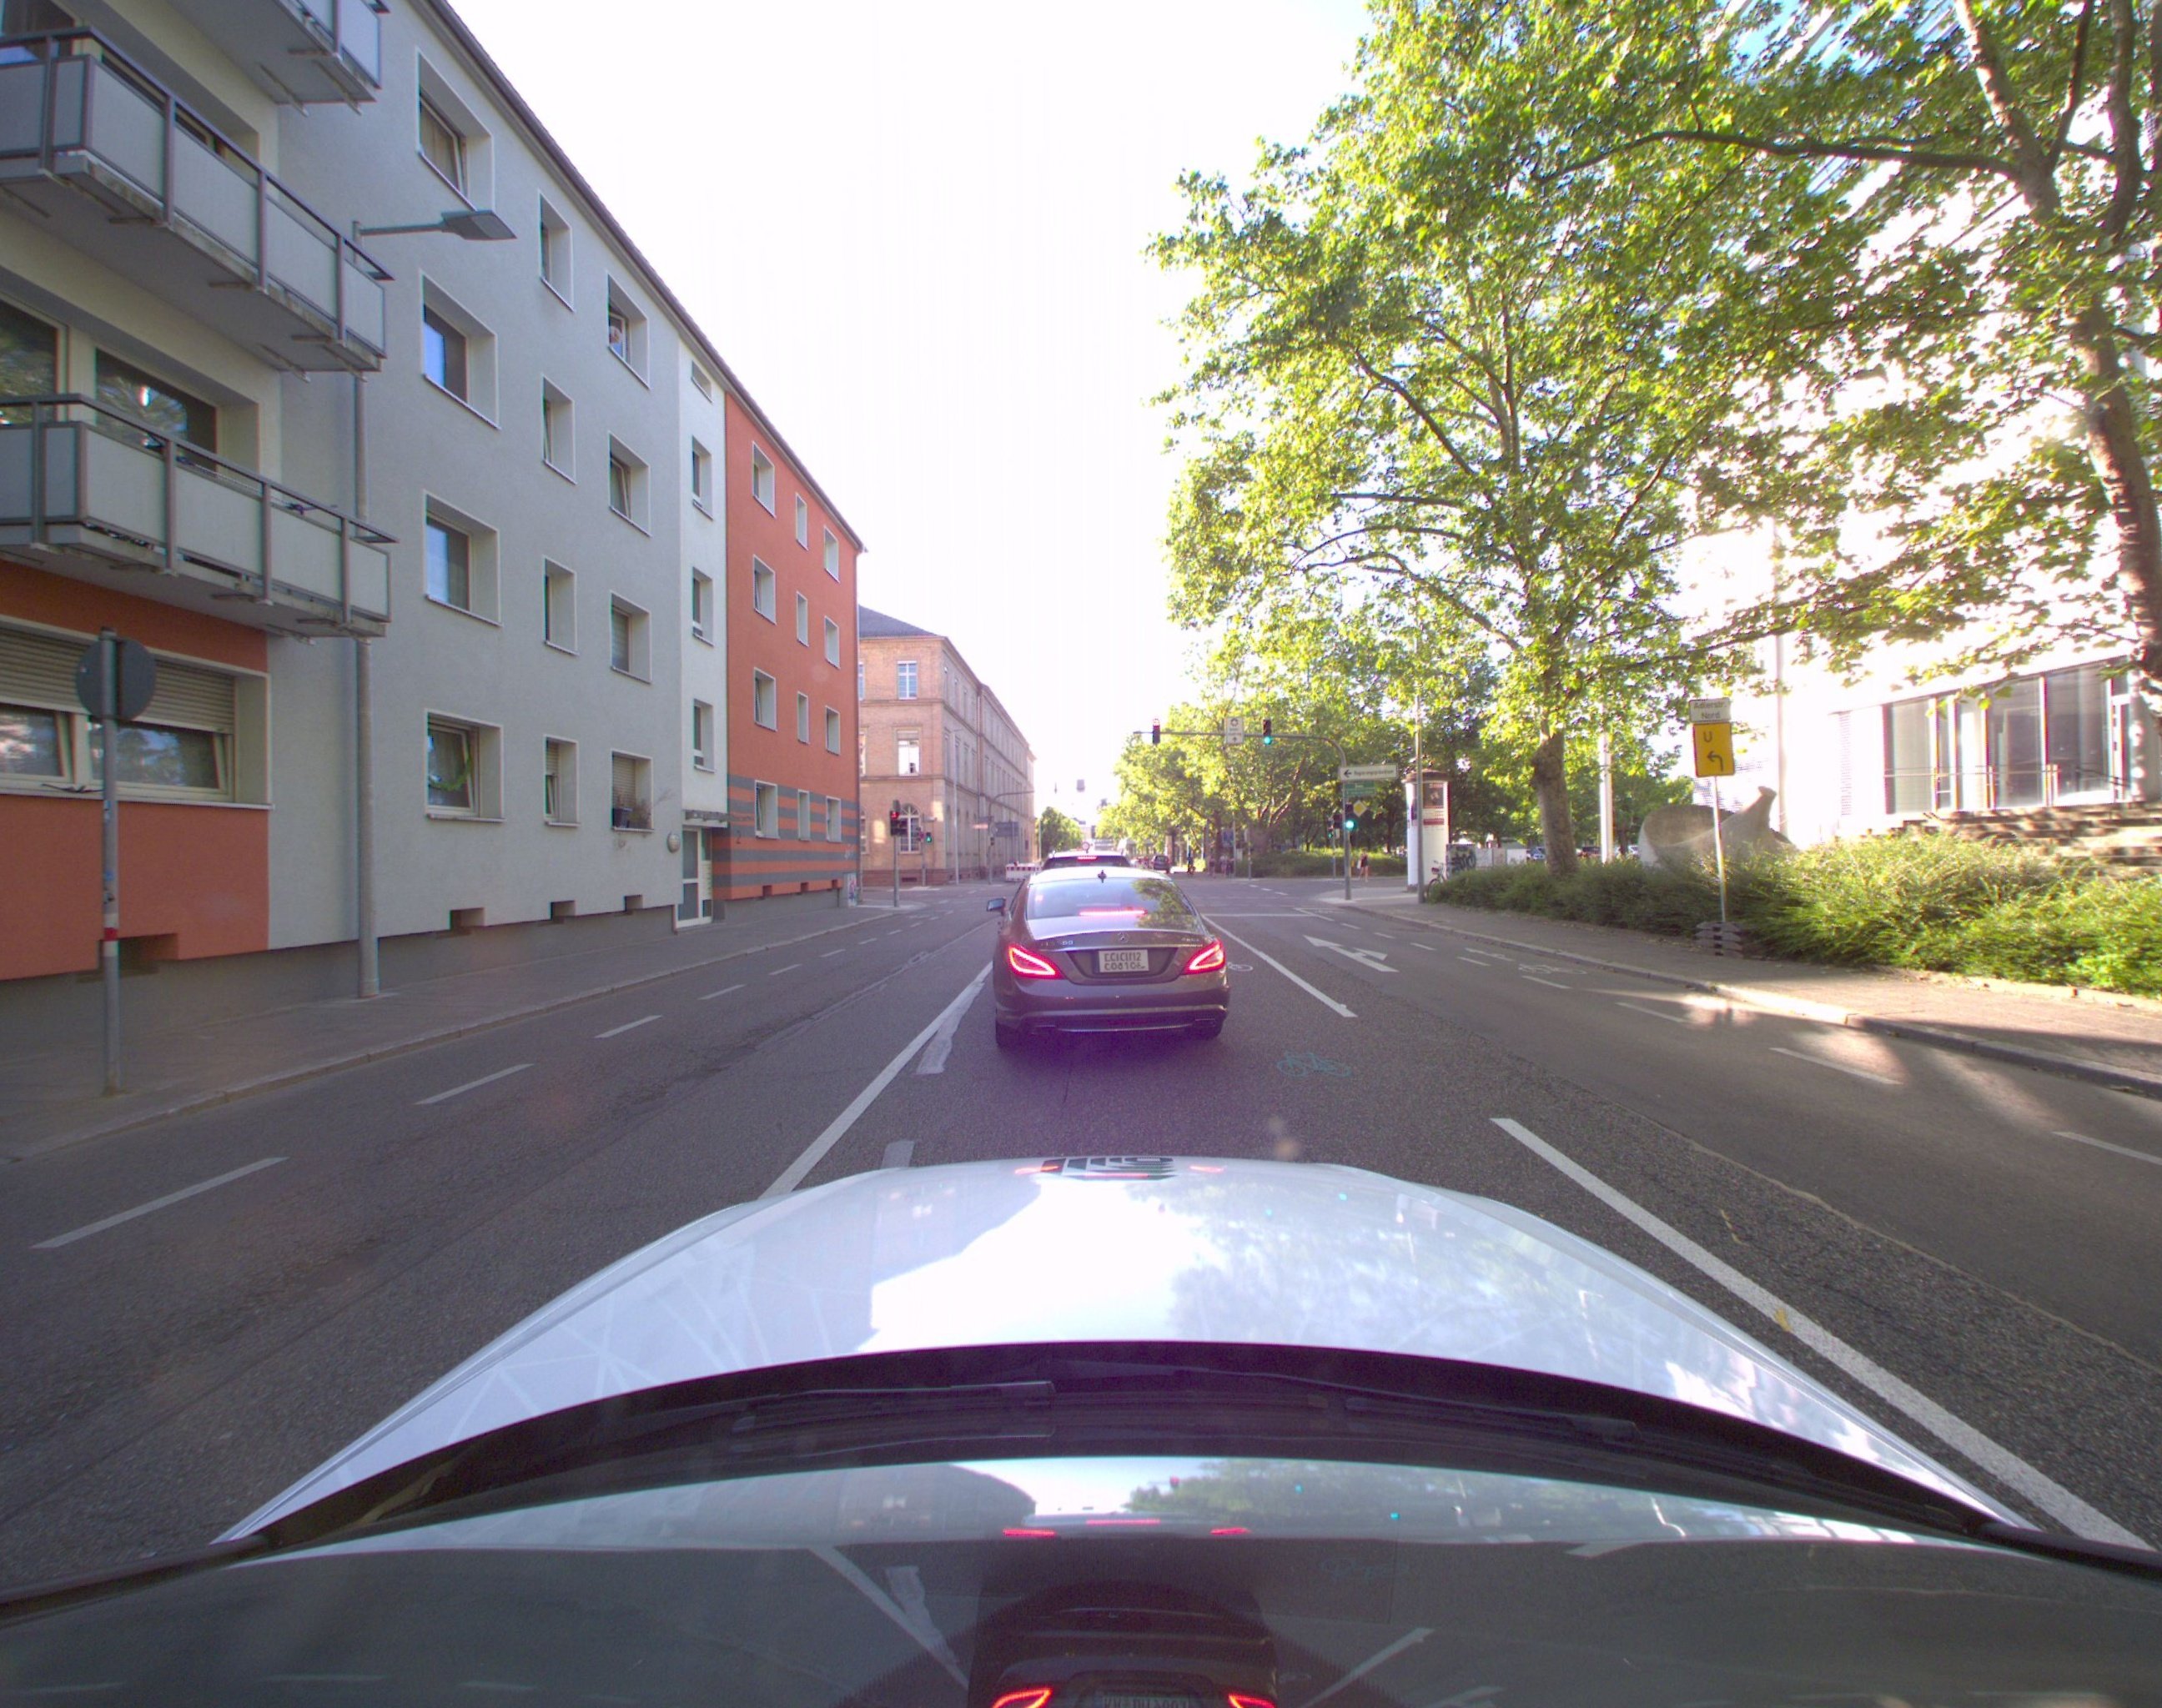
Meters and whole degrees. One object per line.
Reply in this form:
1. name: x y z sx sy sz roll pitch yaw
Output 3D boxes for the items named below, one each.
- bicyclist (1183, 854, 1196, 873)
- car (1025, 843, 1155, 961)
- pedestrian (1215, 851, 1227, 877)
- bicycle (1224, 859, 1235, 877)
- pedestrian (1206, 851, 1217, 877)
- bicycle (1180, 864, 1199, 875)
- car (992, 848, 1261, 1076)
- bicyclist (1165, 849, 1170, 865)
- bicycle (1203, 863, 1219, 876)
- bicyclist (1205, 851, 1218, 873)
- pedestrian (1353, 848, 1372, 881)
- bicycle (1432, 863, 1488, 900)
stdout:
1. bicyclist: 8.265 0.713 61.862 0.726 1.398 0.703 -1 -1 30
2. car: 0.189 0.694 13.728 1.854 1.682 4.002 -1 0 2
3. pedestrian: 9.621 0.704 55.966 0.634 1.760 0.698 0 -1 -2
4. bicycle: 10.158 0.979 55.857 0.480 1.202 1.607 0 -1 2
5. pedestrian: 8.970 0.689 56.139 0.634 1.797 0.698 0 -1 -2
6. bicycle: 8.270 1.157 61.877 0.716 0.791 1.940 -1 -1 30
7. car: 0.141 0.735 7.593 1.859 1.519 3.992 -1 0 -6
8. bicyclist: 11.120 0.397 104.903 0.593 2.039 0.566 0 -1 -3
9. bicycle: 9.567 1.103 59.819 0.825 0.924 2.618 0 -1 2
10. bicyclist: 9.556 0.600 59.724 0.822 1.618 0.958 0 -1 1
11. pedestrian: 13.644 0.505 39.495 0.634 1.545 0.910 0 -1 0
12. bicycle: 10.981 0.781 23.567 1.895 1.028 0.635 0 -1 -36
